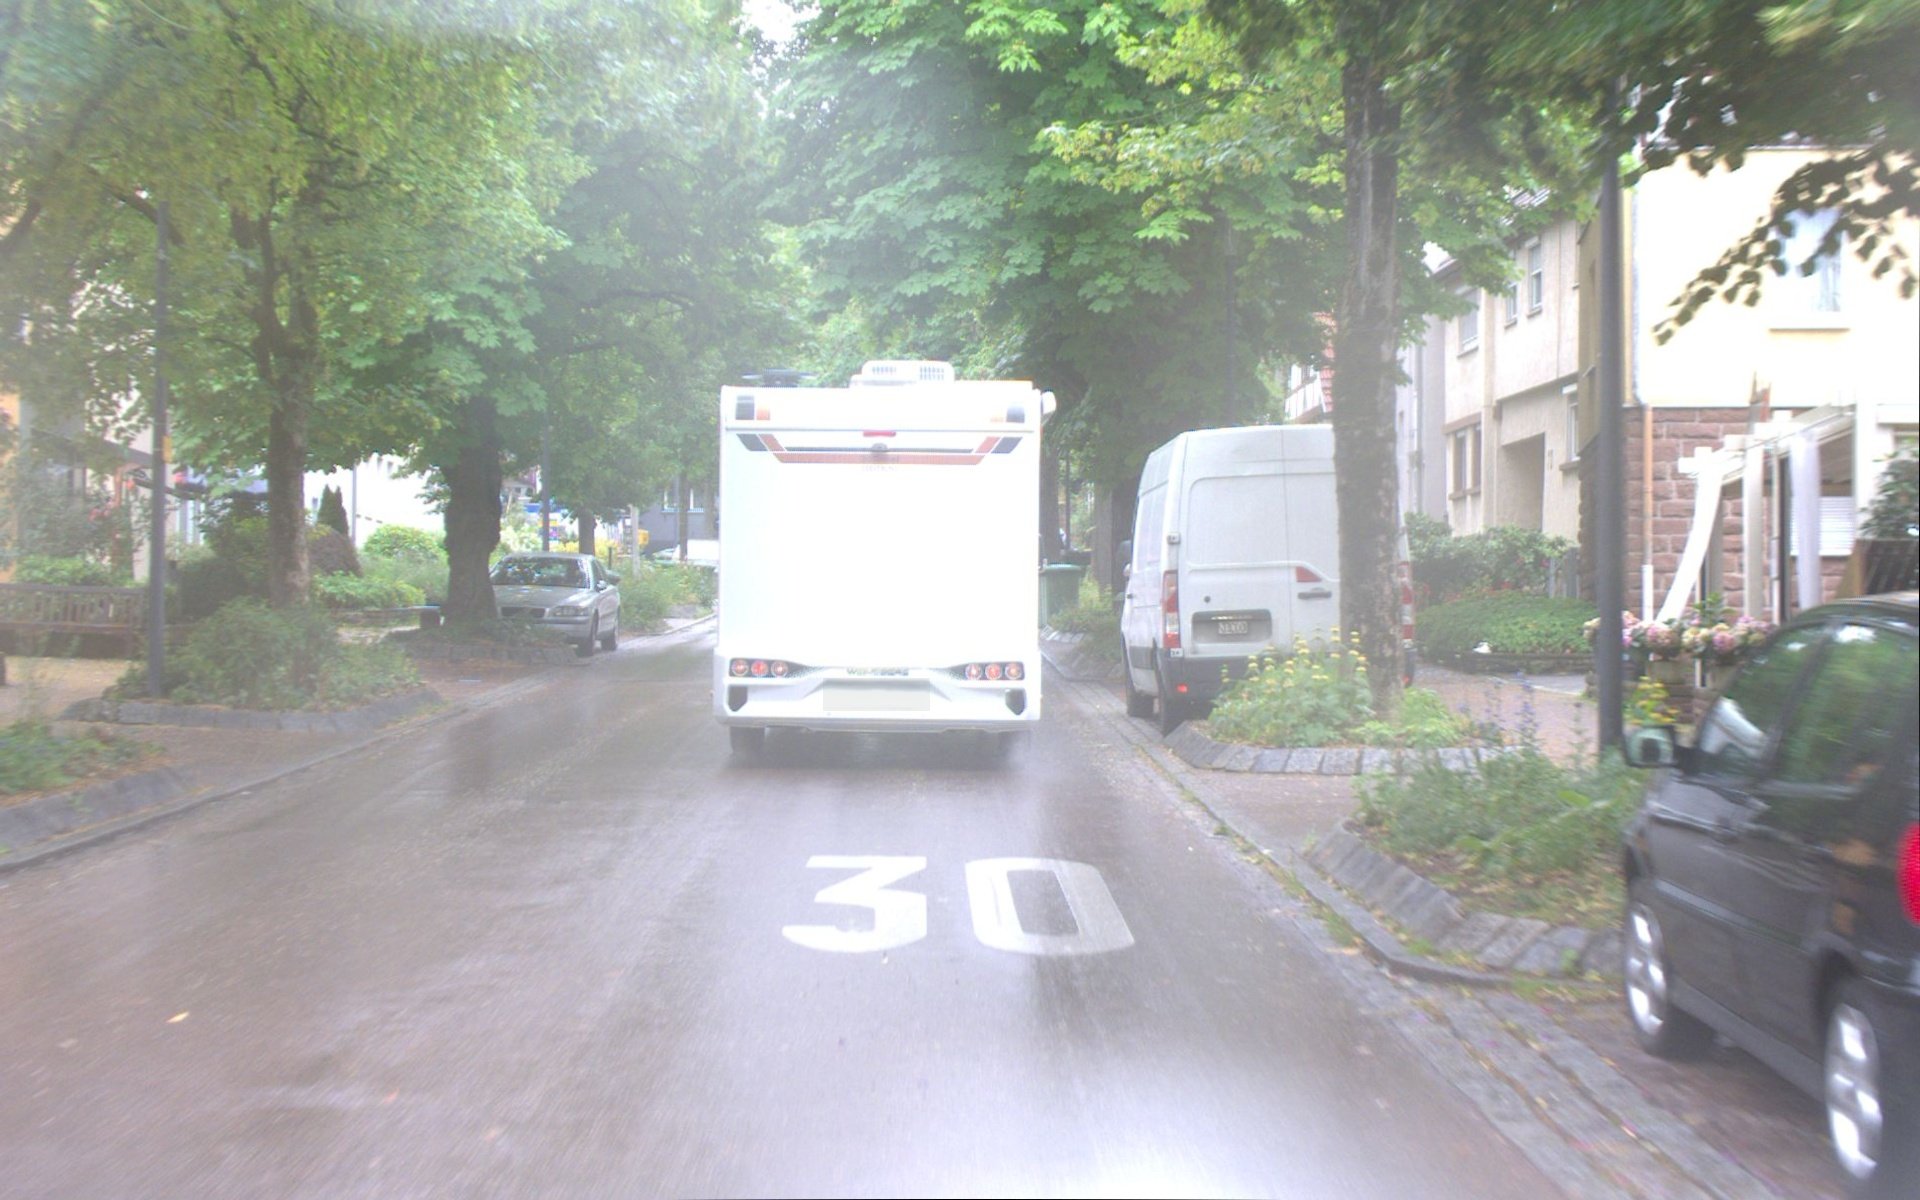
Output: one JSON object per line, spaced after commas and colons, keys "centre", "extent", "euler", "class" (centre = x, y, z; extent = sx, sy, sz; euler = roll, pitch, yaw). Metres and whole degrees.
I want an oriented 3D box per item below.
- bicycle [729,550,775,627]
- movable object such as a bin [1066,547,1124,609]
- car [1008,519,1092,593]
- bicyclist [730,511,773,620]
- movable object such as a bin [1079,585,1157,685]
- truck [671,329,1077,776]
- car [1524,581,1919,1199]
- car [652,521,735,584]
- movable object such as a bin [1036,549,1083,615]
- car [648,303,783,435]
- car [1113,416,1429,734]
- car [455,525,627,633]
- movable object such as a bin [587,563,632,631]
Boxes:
{"centre": [-3.323, -0.193, 55.072], "extent": [0.627, 1.205, 1.981], "euler": [1, 1, -1], "class": "bicycle"}
{"centre": [2.864, -0.473, 73.067], "extent": [1.225, 1.311, 1.134], "euler": [0, 1, 2], "class": "movable object such as a bin"}
{"centre": [2.231, -1.113, 86.471], "extent": [1.914, 1.786, 4.489], "euler": [1, 1, -1], "class": "car"}
{"centre": [-3.320, -0.550, 54.793], "extent": [0.627, 1.725, 0.880], "euler": [1, 1, -1], "class": "bicyclist"}
{"centre": [1.737, 0.385, 37.984], "extent": [0.797, 1.071, 0.879], "euler": [1, 1, -1], "class": "movable object such as a bin"}
{"centre": [-0.602, -0.358, 26.291], "extent": [2.694, 2.975, 6.237], "euler": [1, 1, 0], "class": "truck"}
{"centre": [2.756, 0.690, 9.176], "extent": [1.808, 1.406, 3.784], "euler": [1, 1, -1], "class": "car"}
{"centre": [-6.710, -1.221, 86.886], "extent": [1.647, 1.528, 3.866], "euler": [2, 1, 1], "class": "car"}
{"centre": [1.631, -0.295, 56.411], "extent": [0.688, 1.079, 0.541], "euler": [1, 1, -4], "class": "movable object such as a bin"}
{"centre": [-4.115, -3.887, 58.421], "extent": [1.993, 2.007, 4.000], "euler": [1, 1, 0], "class": "car"}
{"centre": [2.551, -0.230, 29.604], "extent": [2.141, 2.451, 5.435], "euler": [1, 1, -1], "class": "car"}
{"centre": [-5.880, -0.327, 48.663], "extent": [1.772, 1.384, 4.545], "euler": [2, 1, 1], "class": "car"}
{"centre": [-5.741, -0.052, 56.312], "extent": [0.595, 1.059, 0.545], "euler": [3, 1, 3], "class": "movable object such as a bin"}
